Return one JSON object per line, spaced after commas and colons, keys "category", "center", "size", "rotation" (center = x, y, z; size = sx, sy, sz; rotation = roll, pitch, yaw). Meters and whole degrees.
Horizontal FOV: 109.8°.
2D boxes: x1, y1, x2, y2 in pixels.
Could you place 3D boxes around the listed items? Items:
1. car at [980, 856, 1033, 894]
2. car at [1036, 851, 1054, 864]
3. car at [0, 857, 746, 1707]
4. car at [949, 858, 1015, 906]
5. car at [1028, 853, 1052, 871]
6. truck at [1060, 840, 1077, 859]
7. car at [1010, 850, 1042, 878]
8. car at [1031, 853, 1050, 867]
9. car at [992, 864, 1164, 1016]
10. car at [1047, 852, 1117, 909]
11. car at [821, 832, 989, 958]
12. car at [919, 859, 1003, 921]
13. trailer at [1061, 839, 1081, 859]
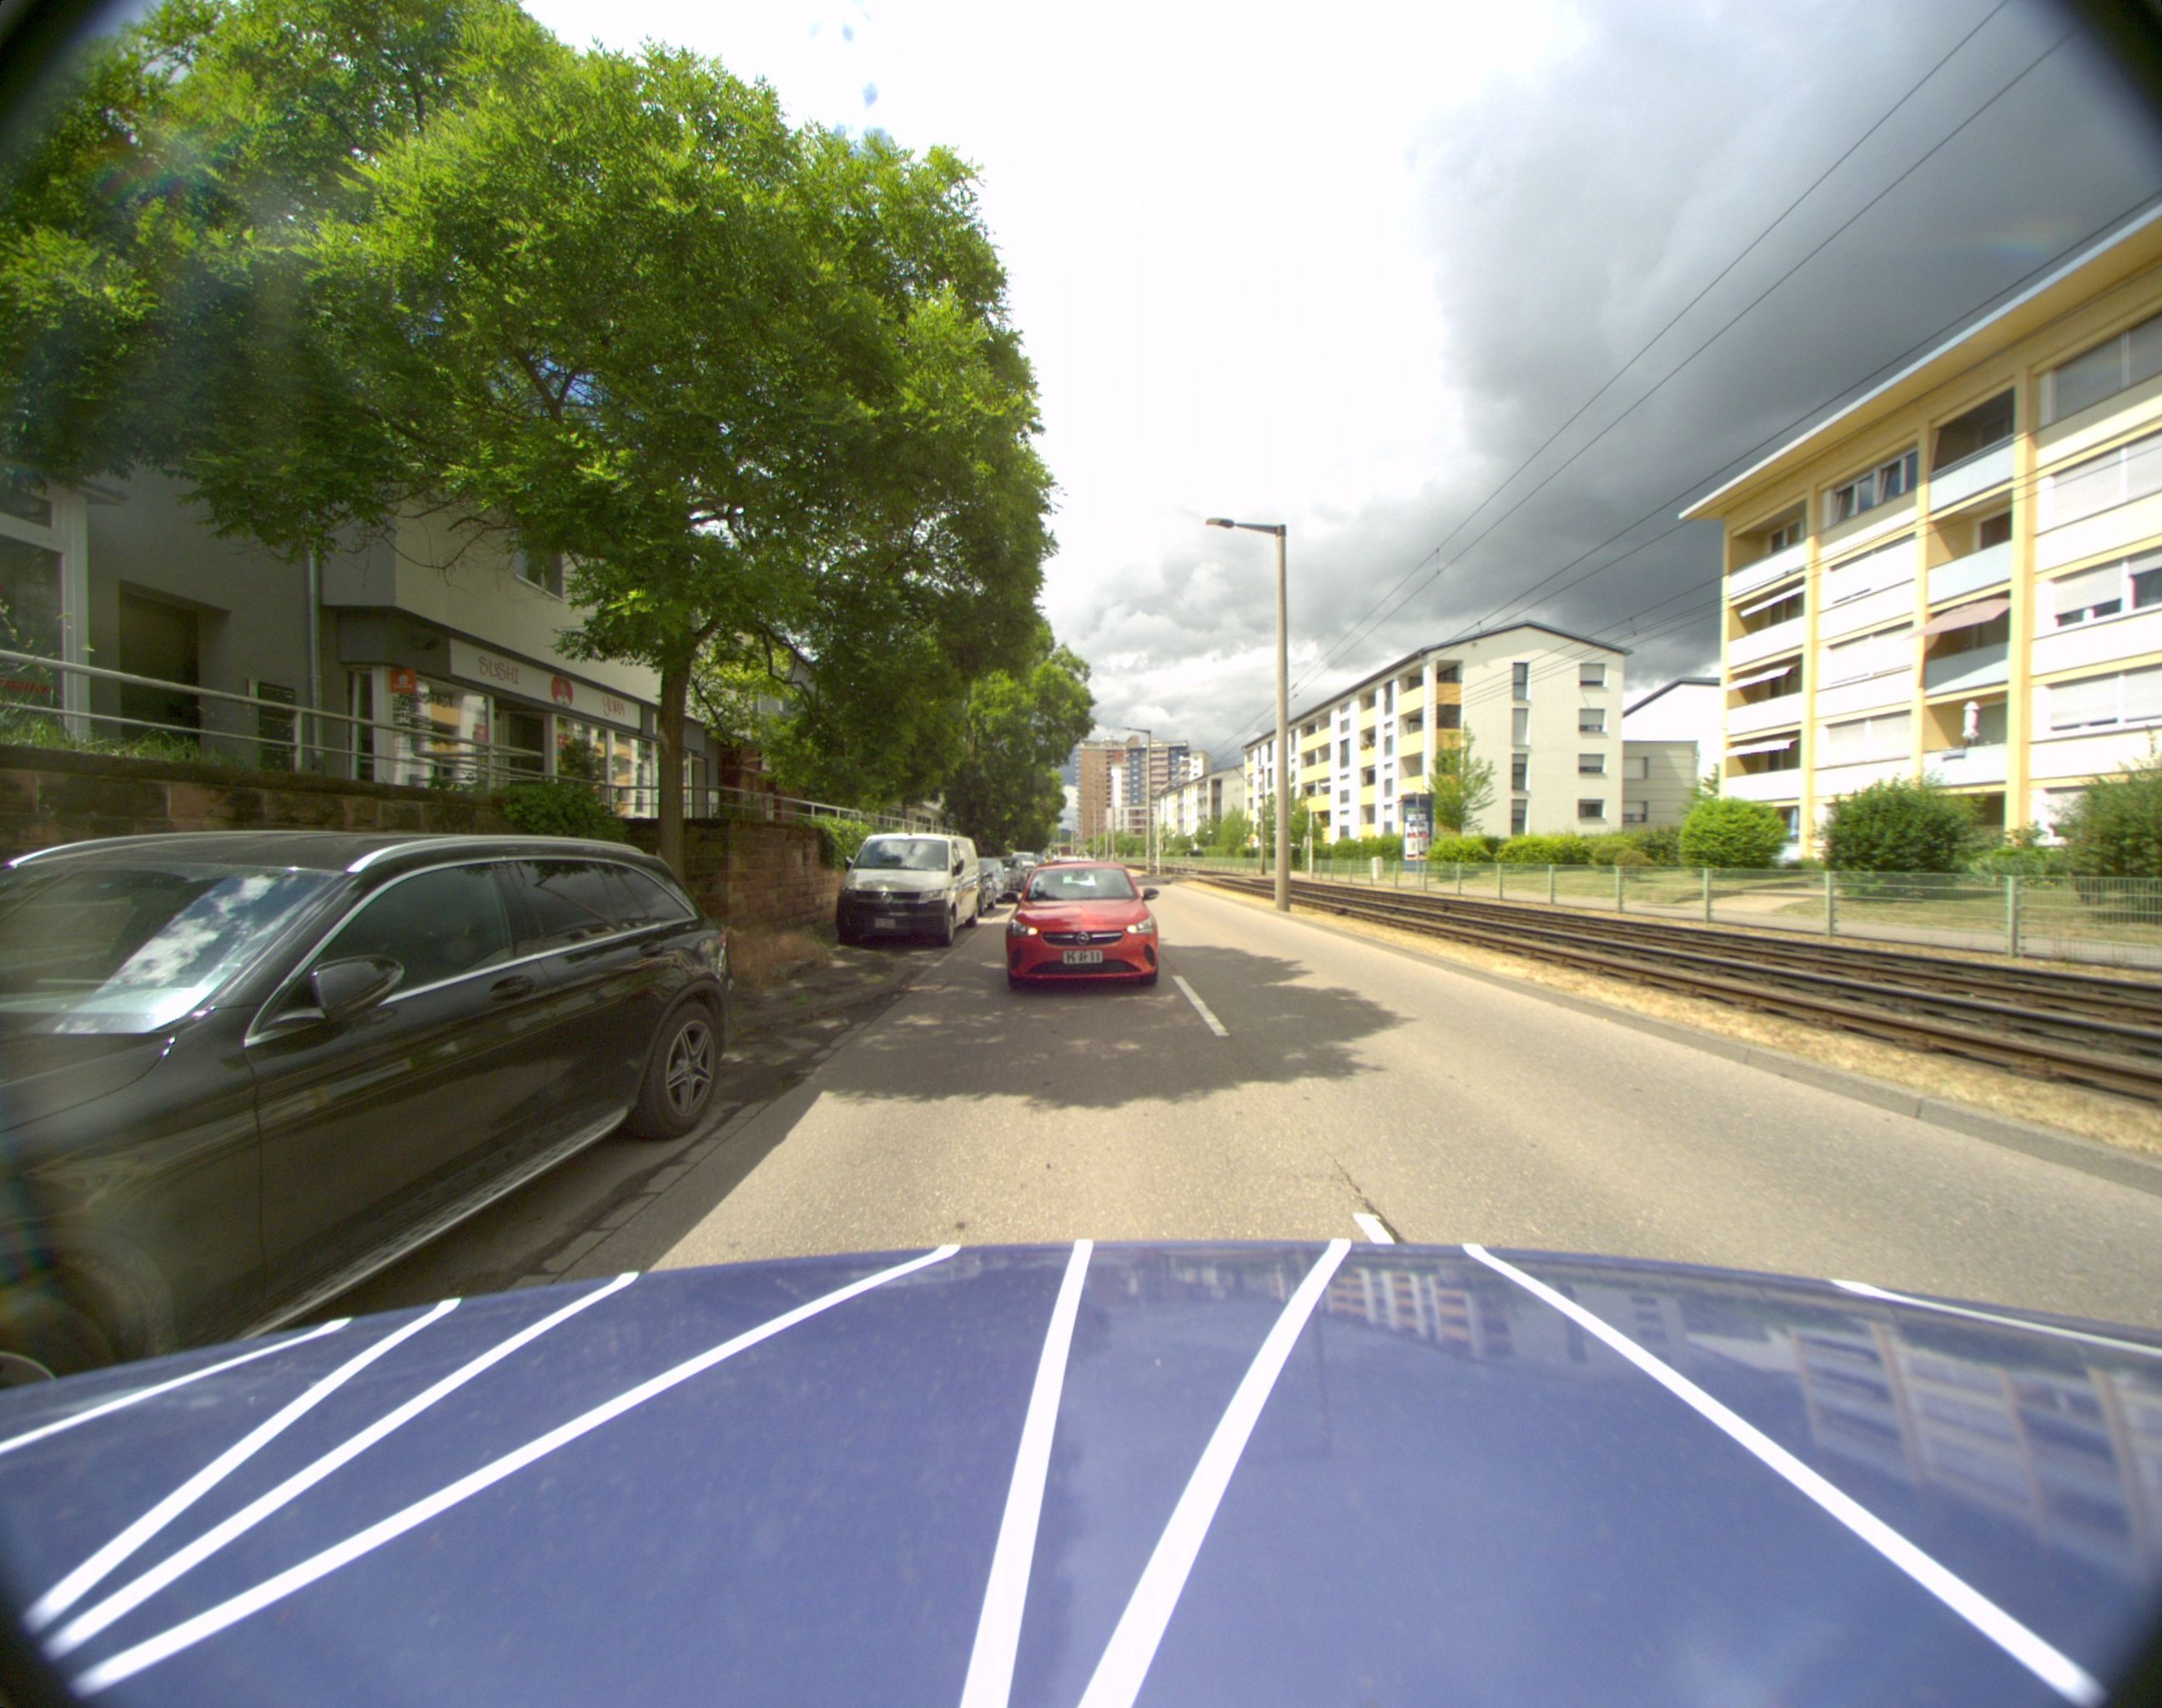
{"category": "car", "center": [-3.114, 0.846, 32.336], "size": [1.784, 1.420, 4.147], "rotation": [-1, 0, 0]}
{"category": "car", "center": [-4.162, 0.415, 88.549], "size": [1.785, 1.420, 4.147], "rotation": [-1, 0, 0]}
{"category": "car", "center": [-3.014, 0.858, 2.555], "size": [1.794, 1.608, 4.447], "rotation": [1, 0, 0]}
{"category": "car", "center": [-3.229, 0.870, 25.391], "size": [1.785, 1.420, 4.144], "rotation": [-1, 0, -2]}
{"category": "car", "center": [-3.453, 0.669, 64.791], "size": [1.784, 1.420, 4.147], "rotation": [-1, 0, 0]}
{"category": "truck", "center": [-2.462, -0.905, 148.950], "size": [2.853, 3.429, 4.413], "rotation": [-3, 1, -5]}
{"category": "car", "center": [-3.419, 0.615, 47.832], "size": [1.819, 1.644, 4.146], "rotation": [-1, 0, -2]}
{"category": "car", "center": [-4.324, 0.622, 81.689], "size": [1.784, 1.420, 4.147], "rotation": [-1, 0, 0]}
{"category": "car", "center": [0.009, 0.916, 9.842], "size": [1.723, 1.434, 4.000], "rotation": [-2, 0, 1]}
{"category": "car", "center": [-0.011, 0.759, 23.699], "size": [1.927, 1.543, 3.999], "rotation": [-3, 0, -1]}
{"category": "car", "center": [-3.075, 0.630, 14.470], "size": [1.978, 1.958, 5.012], "rotation": [-1, 0, 0]}
{"category": "car", "center": [-3.077, 0.877, 20.097], "size": [1.578, 1.420, 3.734], "rotation": [-1, 0, 0]}
{"category": "trailer", "center": [-1.939, -0.887, 140.892], "size": [2.876, 3.428, 14.609], "rotation": [-3, 0, -4]}
